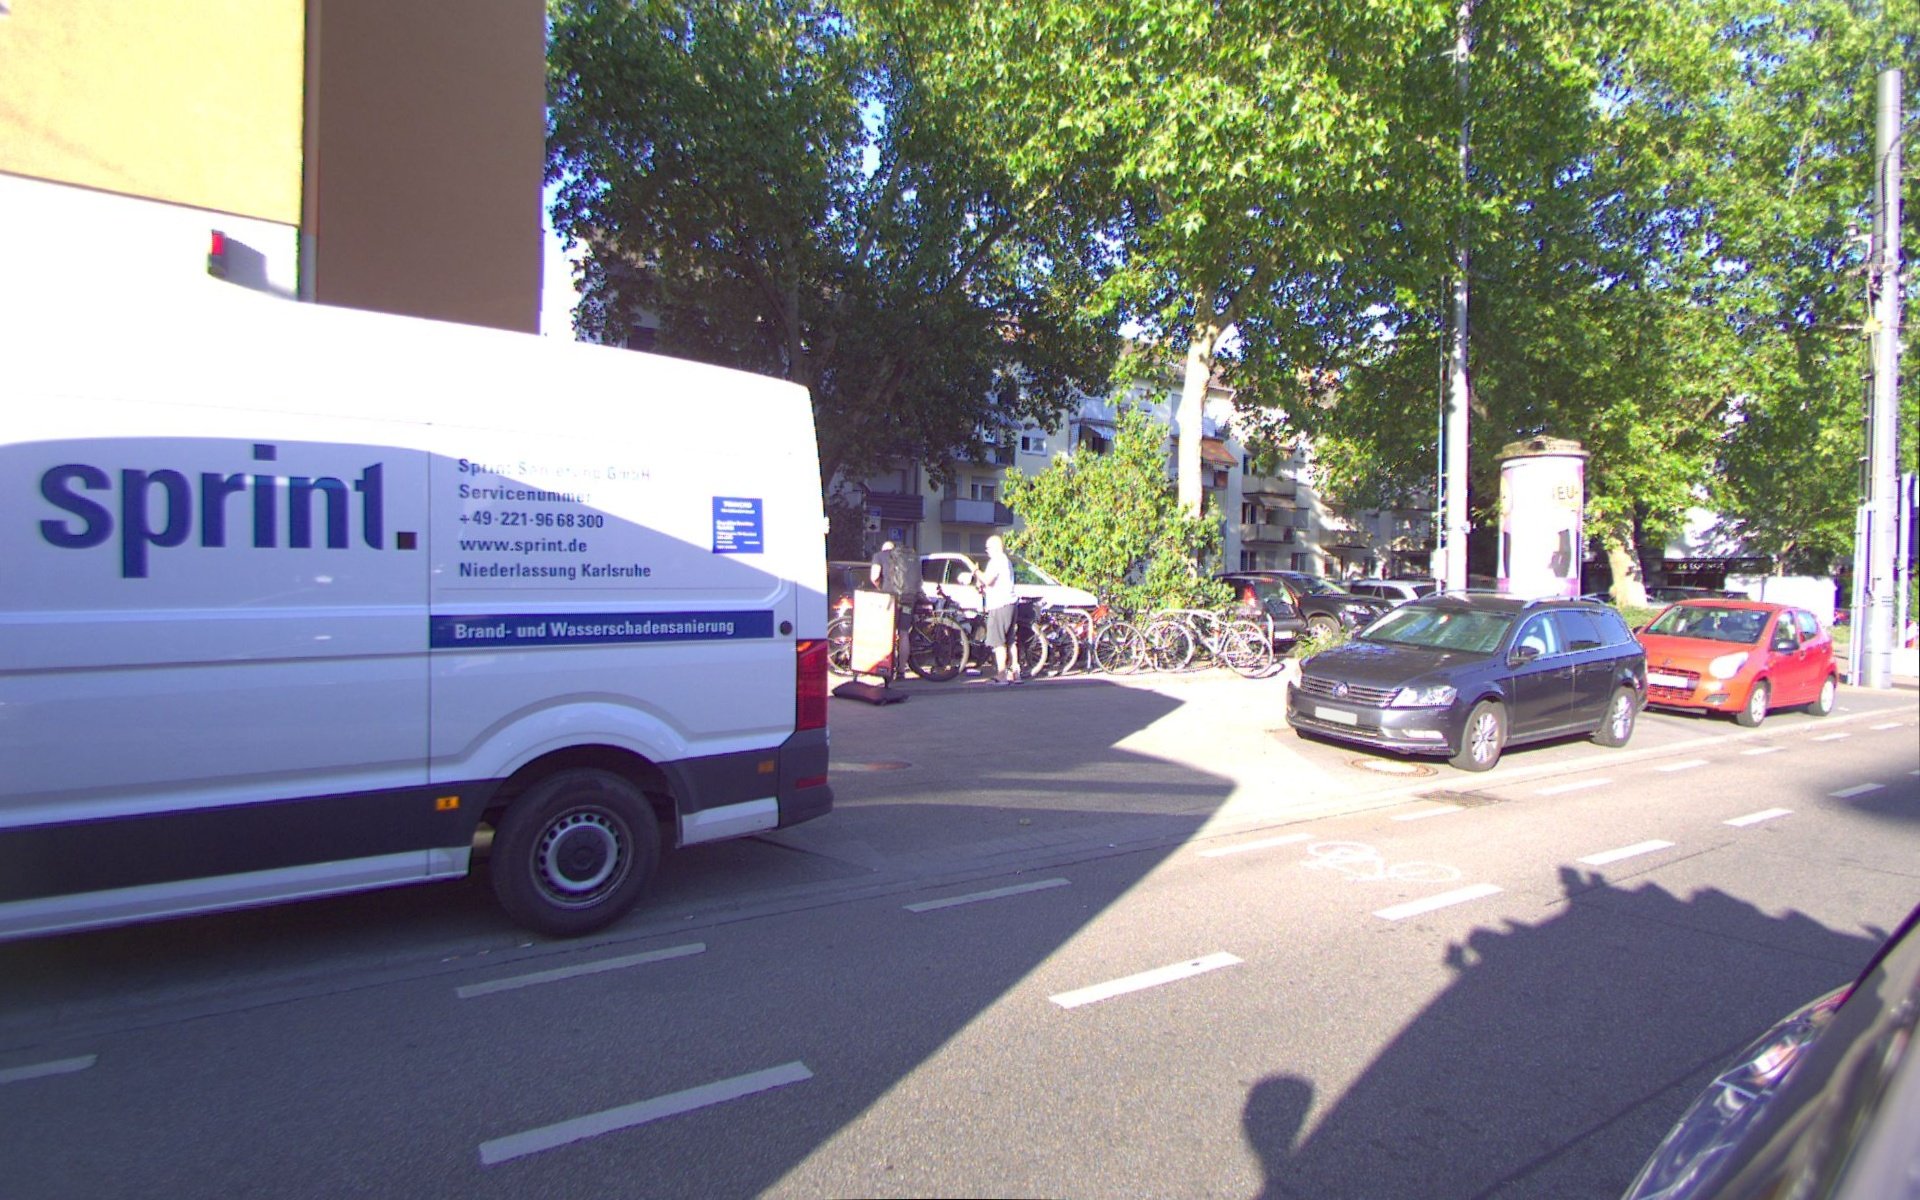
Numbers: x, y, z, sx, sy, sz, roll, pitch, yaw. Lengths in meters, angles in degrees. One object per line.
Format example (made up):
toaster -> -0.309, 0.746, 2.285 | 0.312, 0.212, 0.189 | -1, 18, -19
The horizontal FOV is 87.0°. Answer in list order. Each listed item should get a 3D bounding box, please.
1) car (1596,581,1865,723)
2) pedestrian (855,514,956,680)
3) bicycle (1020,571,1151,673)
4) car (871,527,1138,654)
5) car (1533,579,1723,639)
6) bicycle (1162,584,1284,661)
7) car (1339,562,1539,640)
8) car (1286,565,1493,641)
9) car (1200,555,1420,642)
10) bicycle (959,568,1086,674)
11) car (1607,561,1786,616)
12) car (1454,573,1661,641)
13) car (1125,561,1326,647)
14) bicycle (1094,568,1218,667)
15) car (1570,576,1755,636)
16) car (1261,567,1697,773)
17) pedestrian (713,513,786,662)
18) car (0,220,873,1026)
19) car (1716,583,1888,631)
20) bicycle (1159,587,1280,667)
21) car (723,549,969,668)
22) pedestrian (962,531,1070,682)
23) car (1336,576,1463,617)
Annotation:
car -> 9.973, 0.578, 13.050 | 3.555, 1.512, 1.576 | 0, 4, -33
pedestrian -> -0.628, -0.050, 11.452 | 0.753, 1.772, 0.810 | 2, 3, -32
bicycle -> 1.611, 0.274, 12.953 | 1.563, 1.242, 0.647 | -1, 0, 20
car -> 0.535, -0.082, 16.334 | 1.961, 1.731, 4.633 | 0, -1, -33
car -> 18.845, 0.207, 28.726 | 1.767, 1.513, 4.130 | 0, 2, -31
bicycle -> 3.834, 0.306, 14.744 | 1.659, 1.026, 0.647 | 2, 1, 20
car -> 11.069, 0.024, 23.629 | 1.819, 1.652, 3.855 | 0, -1, -31
car -> 9.330, 0.113, 22.267 | 1.819, 1.514, 3.854 | 0, -2, -31
car -> 7.117, 0.023, 20.956 | 1.820, 1.621, 4.035 | 0, -2, -33
bicycle -> 0.770, 0.236, 12.532 | 1.500, 1.242, 0.401 | 2, 1, 18
car -> 22.746, -0.303, 31.421 | 1.767, 1.570, 4.128 | 0, -1, -31
car -> 14.873, 0.124, 25.425 | 1.767, 1.513, 4.130 | 0, 2, -31
car -> 5.077, 0.113, 19.732 | 1.739, 1.502, 3.509 | 0, -2, -33
bicycle -> 2.602, 0.214, 13.478 | 1.558, 1.242, 0.645 | 1, 1, 11
car -> 20.806, 0.131, 30.147 | 1.767, 1.619, 4.130 | 0, 2, -31
car -> 5.210, 0.534, 9.957 | 4.561, 1.549, 1.704 | 0, 4, -33
pedestrian -> -2.653, -0.162, 12.746 | 0.639, 1.803, 0.529 | 1, 4, -40
car -> -3.391, 0.012, 4.216 | 5.672, 2.581, 2.026 | 0, 5, -33
car -> 29.410, 0.190, 35.462 | 1.962, 1.514, 4.295 | 0, 1, -36
bicycle -> 3.615, 0.350, 14.095 | 1.563, 1.026, 0.647 | 2, 1, 20
car -> -1.808, 0.013, 14.880 | 1.962, 1.449, 4.030 | -3, 4, -33
pedestrian -> 0.647, 0.065, 11.768 | 0.973, 1.656, 0.661 | 1, 4, -40
car -> 17.593, -0.183, 40.656 | 1.962, 1.514, 4.295 | 0, 1, -36
